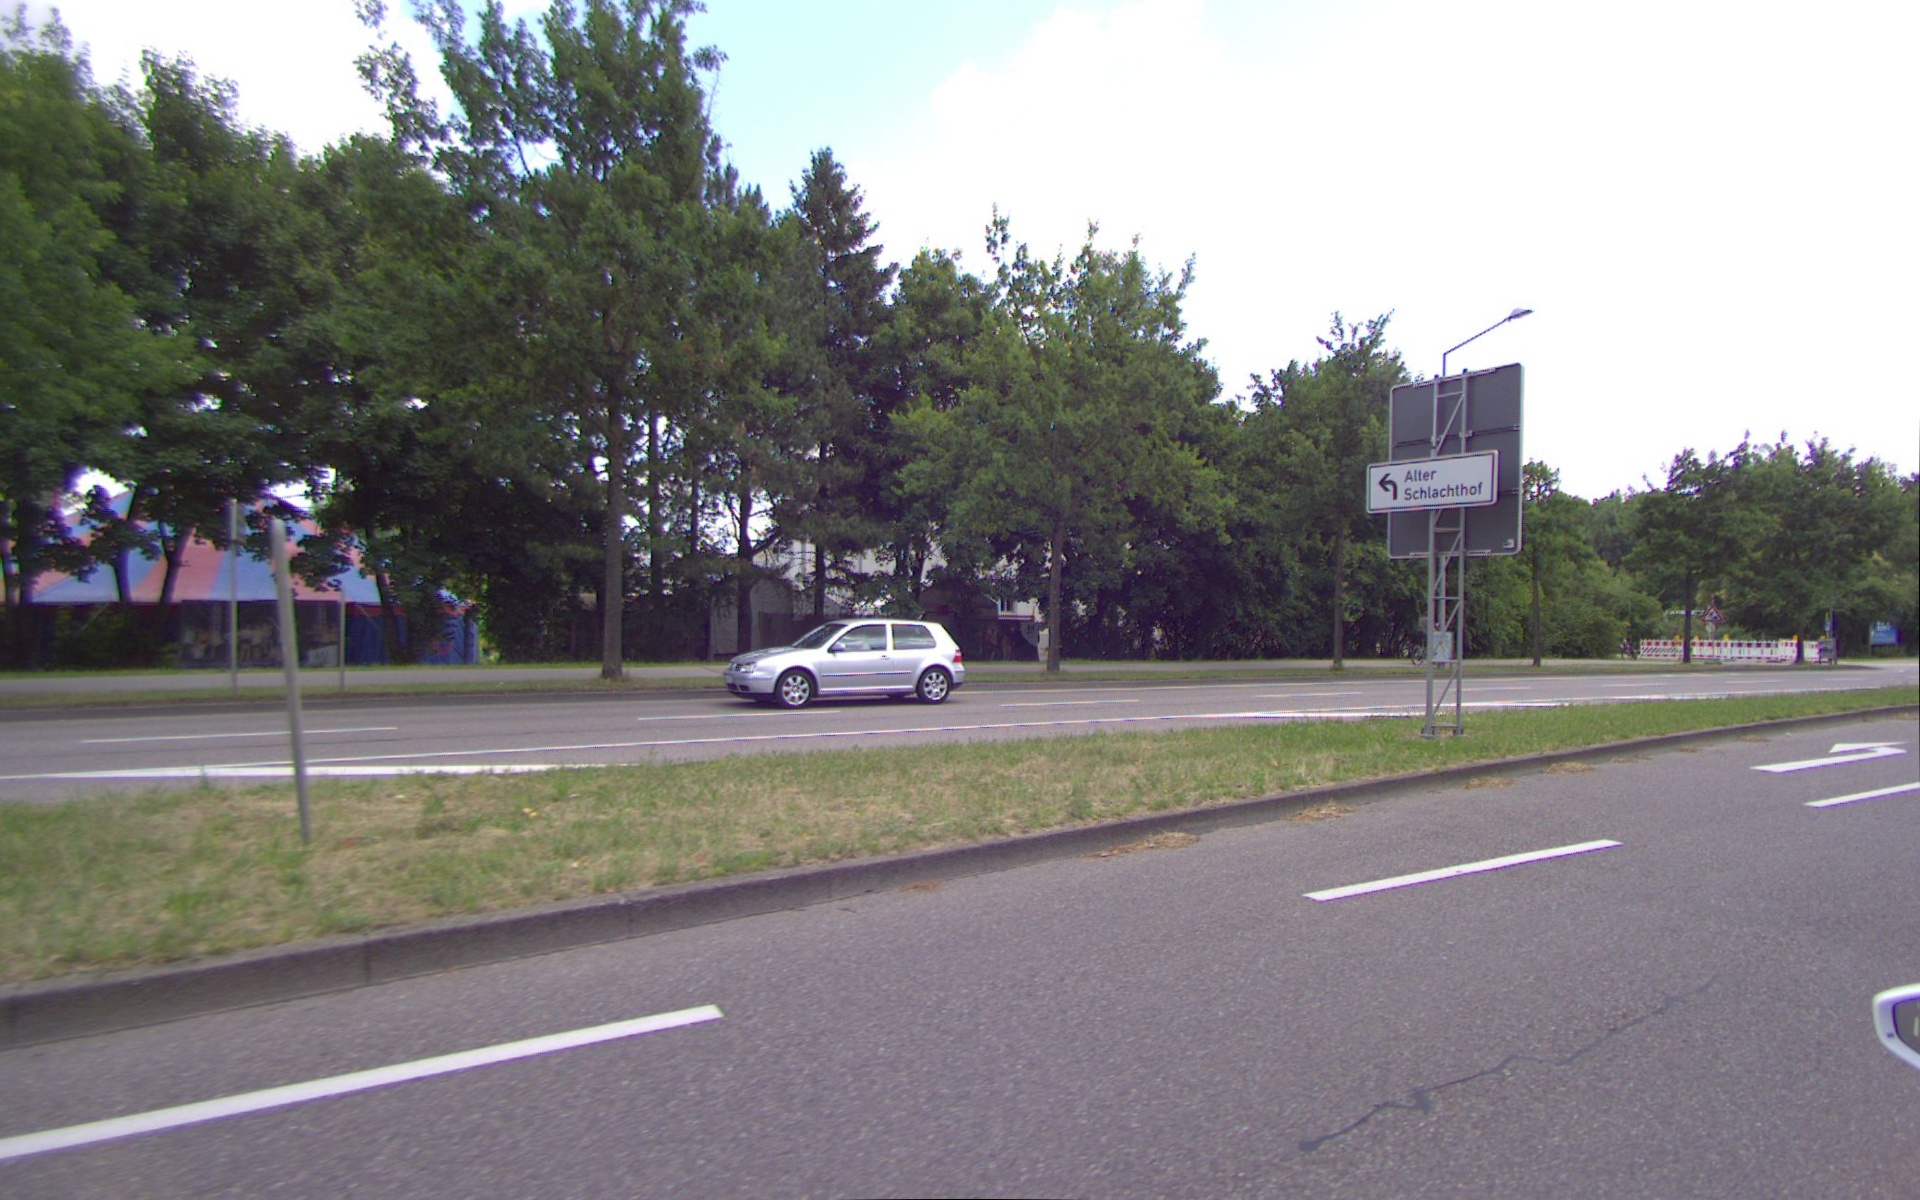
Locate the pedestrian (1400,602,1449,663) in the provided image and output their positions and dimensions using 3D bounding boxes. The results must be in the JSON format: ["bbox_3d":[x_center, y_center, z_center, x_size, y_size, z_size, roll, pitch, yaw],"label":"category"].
[{"bbox_3d":[15.714,1.092,33.966,1.234,2.040,0.966,1,0,-29],"label":"pedestrian"}]

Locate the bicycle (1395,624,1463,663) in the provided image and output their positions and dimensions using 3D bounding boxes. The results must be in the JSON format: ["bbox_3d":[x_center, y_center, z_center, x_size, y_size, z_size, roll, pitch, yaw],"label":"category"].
[{"bbox_3d":[15.817,1.481,33.863,2.472,1.243,0.804,3,-1,-30],"label":"bicycle"}]

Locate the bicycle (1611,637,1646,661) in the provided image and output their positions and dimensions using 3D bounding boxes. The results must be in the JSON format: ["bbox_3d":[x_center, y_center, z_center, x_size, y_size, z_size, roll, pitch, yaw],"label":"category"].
[{"bbox_3d":[31.728,2.305,47.701,0.866,1.073,2.364,1,-1,20],"label":"bicycle"}]

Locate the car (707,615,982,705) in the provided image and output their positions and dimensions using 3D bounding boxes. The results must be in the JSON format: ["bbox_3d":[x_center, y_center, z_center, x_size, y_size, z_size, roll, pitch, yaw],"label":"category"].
[{"bbox_3d":[-1.899,0.955,16.938,4.328,1.346,1.633,1,-1,-29],"label":"car"}]
